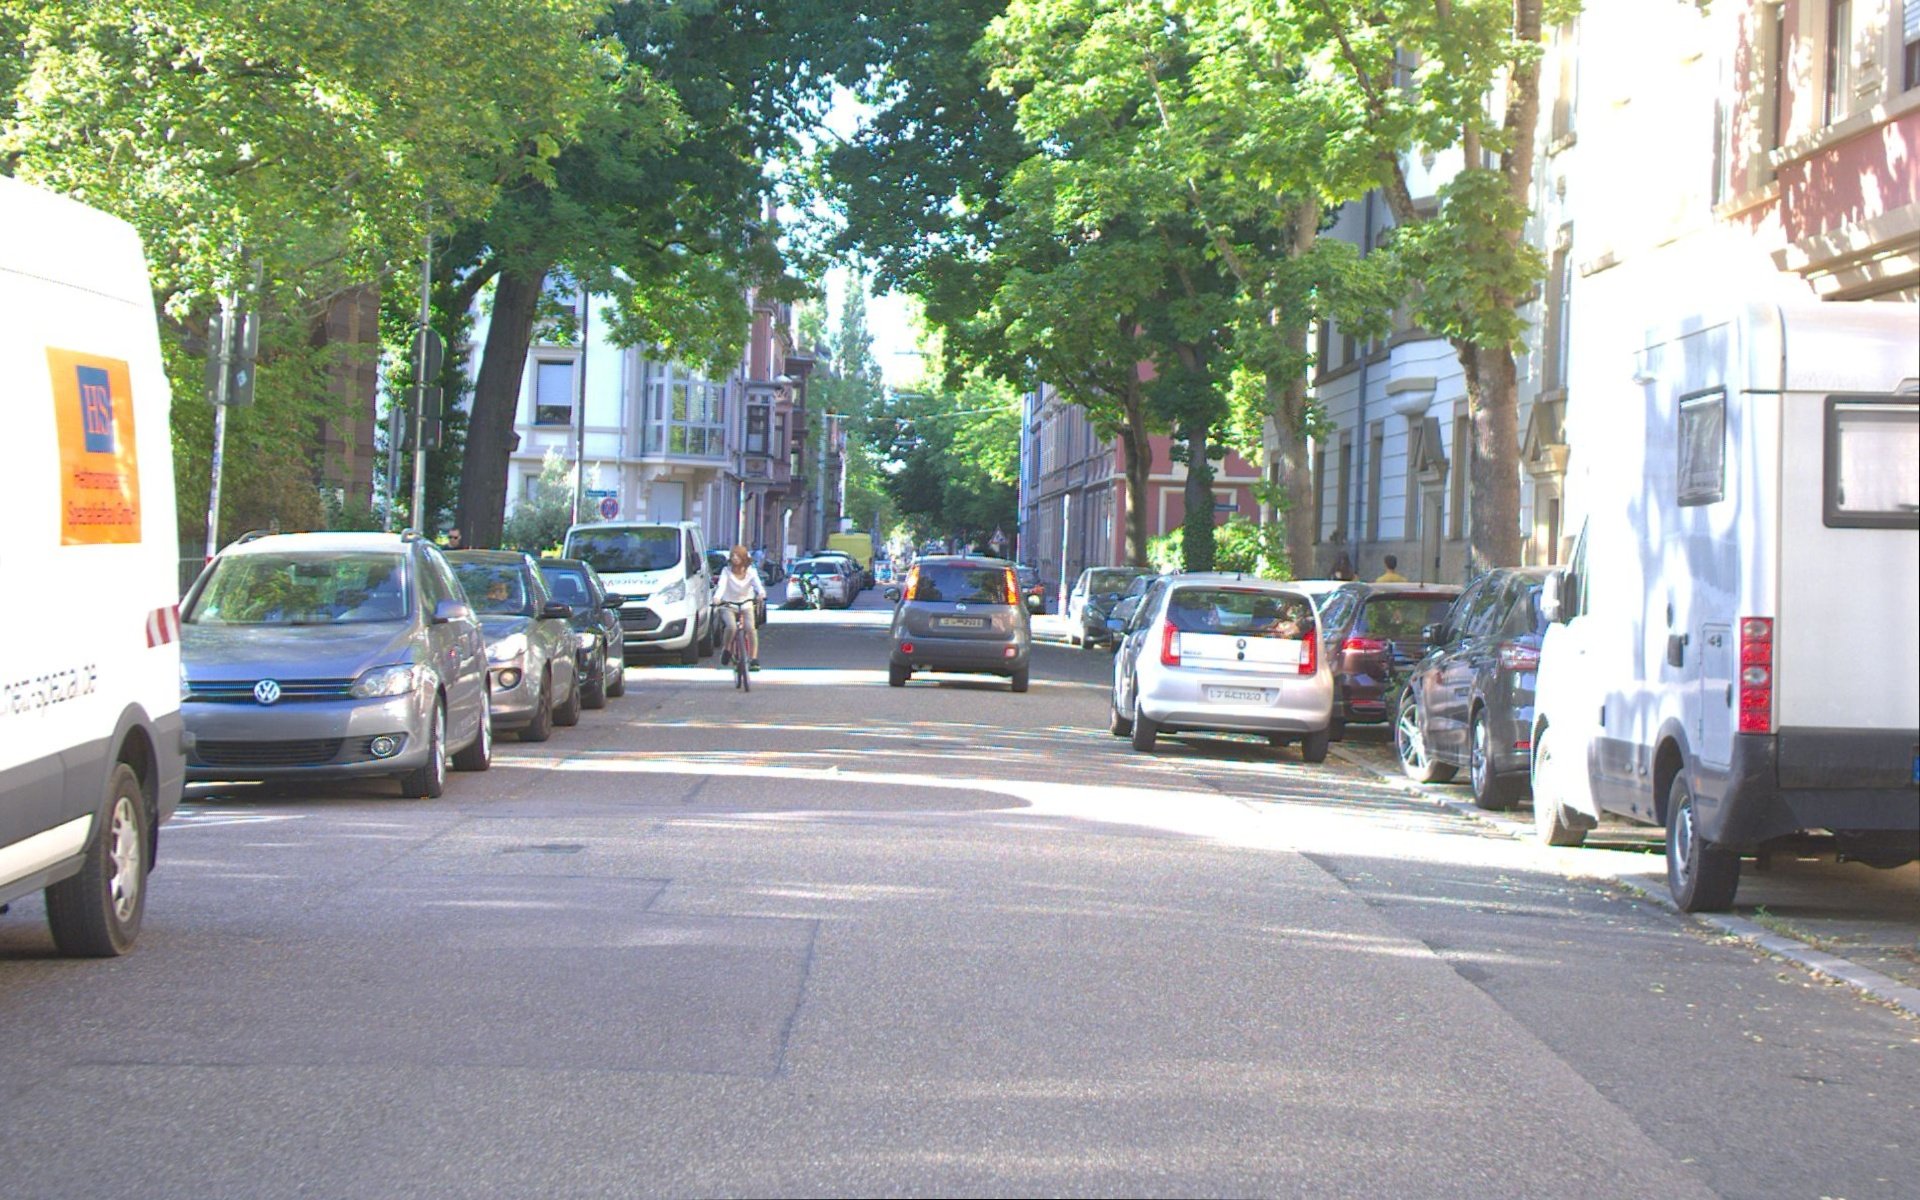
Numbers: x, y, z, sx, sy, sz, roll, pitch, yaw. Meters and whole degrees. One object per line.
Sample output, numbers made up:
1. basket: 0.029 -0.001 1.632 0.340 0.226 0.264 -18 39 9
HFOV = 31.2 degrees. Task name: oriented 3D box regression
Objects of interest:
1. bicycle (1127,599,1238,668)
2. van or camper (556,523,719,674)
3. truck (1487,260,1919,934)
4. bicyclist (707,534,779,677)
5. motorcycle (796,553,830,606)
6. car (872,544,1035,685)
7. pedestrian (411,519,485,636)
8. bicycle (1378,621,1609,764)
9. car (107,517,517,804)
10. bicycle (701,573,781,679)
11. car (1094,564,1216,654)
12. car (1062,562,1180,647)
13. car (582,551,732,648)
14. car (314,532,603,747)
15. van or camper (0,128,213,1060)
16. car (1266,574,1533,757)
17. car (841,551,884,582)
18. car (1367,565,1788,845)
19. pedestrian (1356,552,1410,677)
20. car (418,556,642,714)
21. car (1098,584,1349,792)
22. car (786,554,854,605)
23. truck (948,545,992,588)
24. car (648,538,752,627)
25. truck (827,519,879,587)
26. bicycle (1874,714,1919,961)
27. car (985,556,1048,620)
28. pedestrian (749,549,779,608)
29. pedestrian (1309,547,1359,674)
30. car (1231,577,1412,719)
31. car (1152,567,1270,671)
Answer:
1. bicycle: 3.724 0.557 57.567 1.769 1.036 0.606 3 1 0
2. van or camper: -4.465 -0.048 48.259 1.921 1.973 5.462 -1 1 -2
3. truck: 4.372 -0.065 18.164 2.073 2.958 6.110 0 1 -2
4. bicyclist: -2.349 0.056 37.245 0.651 1.503 0.624 3 1 1
5. motorcycle: -4.165 -0.592 97.430 0.696 1.455 1.751 1 1 -10
6. car: -0.110 0.136 40.090 1.632 1.545 3.265 1 1 -5
7. pedestrian: -7.116 -0.309 47.783 0.881 1.572 0.529 3 0 0
8. bicycle: 4.408 0.761 28.448 1.811 1.163 0.569 0 1 -1
9. car: -3.866 0.300 21.228 1.780 1.585 4.469 0 1 -1
10. bicycle: -2.362 0.268 37.226 0.665 1.073 1.685 3 1 1
11. car: 3.498 0.138 62.135 1.610 1.473 3.871 2 1 -5
12. car: 3.127 0.063 67.689 1.788 1.545 4.410 2 1 -3
13. car: -4.688 -0.039 53.775 2.001 1.452 4.606 0 1 -1
14. car: -3.917 0.254 27.433 1.676 1.567 4.152 -1 1 0
15. van or camper: -3.910 -0.022 10.374 2.128 2.759 5.852 0 1 -1
16. car: 4.131 0.568 32.987 1.786 1.508 4.460 3 1 -2
17. car: -4.779 -1.643 168.604 1.961 1.474 3.925 -1 1 0
18. car: 4.267 0.652 24.585 1.885 1.710 4.945 2 1 -2
19. pedestrian: 5.884 0.196 47.844 0.595 1.696 0.689 3 1 1
20. car: -4.139 0.290 33.732 1.713 1.390 4.780 -2 1 -2
21. car: 2.205 0.704 29.651 1.679 1.539 3.800 3 1 -2
22. car: -4.072 -0.611 100.728 1.797 1.427 3.925 -1 1 0
23. truck: 0.480 -1.637 167.070 1.993 1.985 4.000 2 1 -1
24. car: -4.812 -0.339 64.069 1.824 1.548 4.134 -2 1 -3
25. truck: -4.741 -2.093 153.332 2.070 2.916 5.068 -2 1 0
26. bicycle: 4.818 1.026 14.450 1.702 0.996 0.707 2 1 -7
27. car: 1.604 -0.361 98.302 1.663 1.663 3.757 3 1 0
28. pedestrian: -6.278 -0.685 109.927 0.723 1.833 0.626 3 1 11
29. pedestrian: 5.218 0.143 47.982 0.520 1.729 0.878 3 1 1
30. car: 4.075 0.508 39.209 1.596 1.483 3.748 1 1 -1
31. car: 3.919 0.273 54.041 1.520 1.505 3.544 2 1 0
